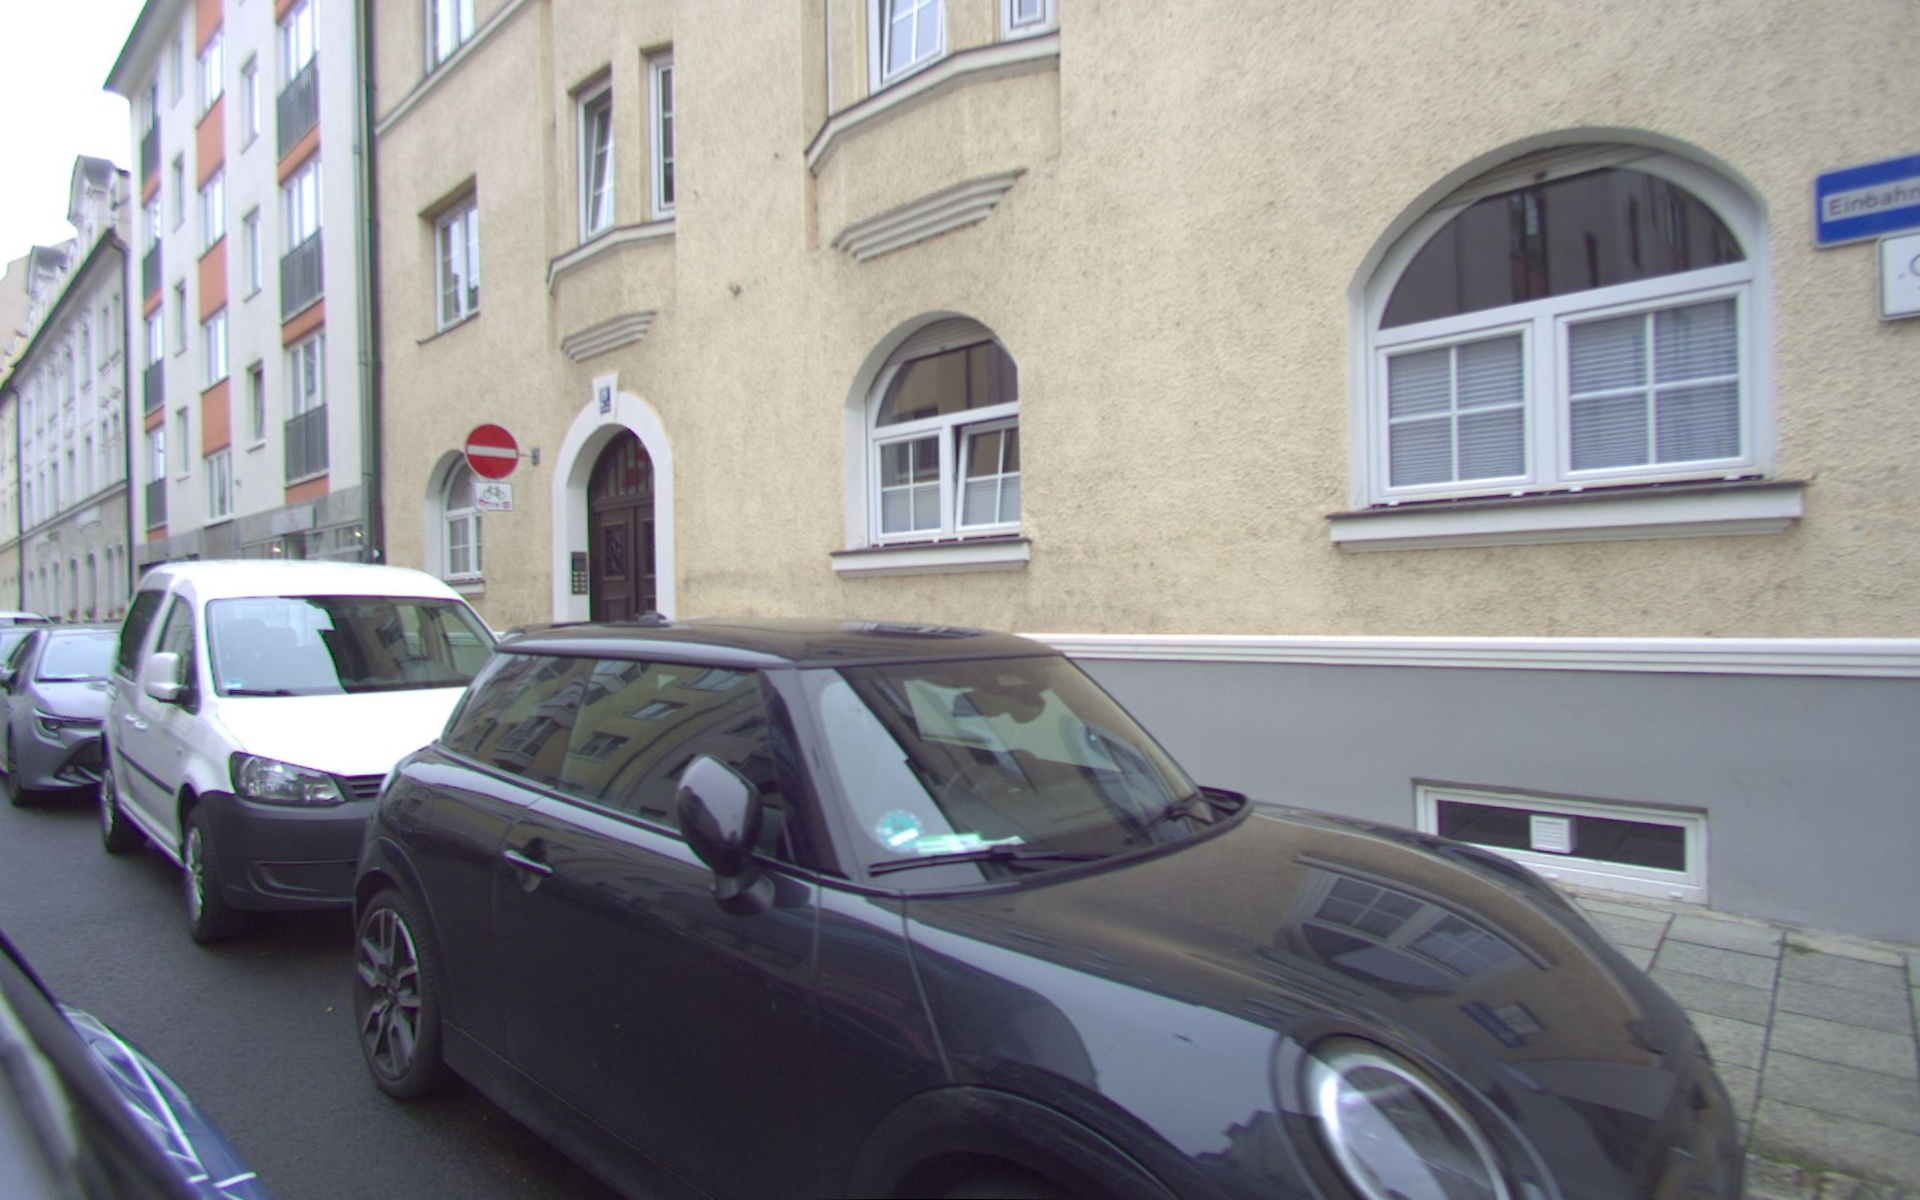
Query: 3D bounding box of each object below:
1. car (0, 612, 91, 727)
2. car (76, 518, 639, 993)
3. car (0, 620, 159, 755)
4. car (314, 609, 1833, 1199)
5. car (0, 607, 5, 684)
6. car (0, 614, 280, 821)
[{"bbox_3d":[-15.144,1.022,15.649,4.302,1.617,1.764,-2,-3,38],"label":"car"},{"bbox_3d":[-3.762,0.610,5.940,4.249,1.802,1.705,0,-2,43],"label":"car"},{"bbox_3d":[-11.628,1.018,12.841,3.839,1.486,1.611,-2,-3,41],"label":"car"},{"bbox_3d":[-0.153,0.760,2.686,3.733,1.422,1.634,0,-1,41],"label":"car"},{"bbox_3d":[-25.924,1.126,25.729,4.906,1.875,1.926,-1,-2,42],"label":"car"},{"bbox_3d":[-7.817,0.903,9.291,4.111,1.486,1.654,-1,-2,42],"label":"car"}]
